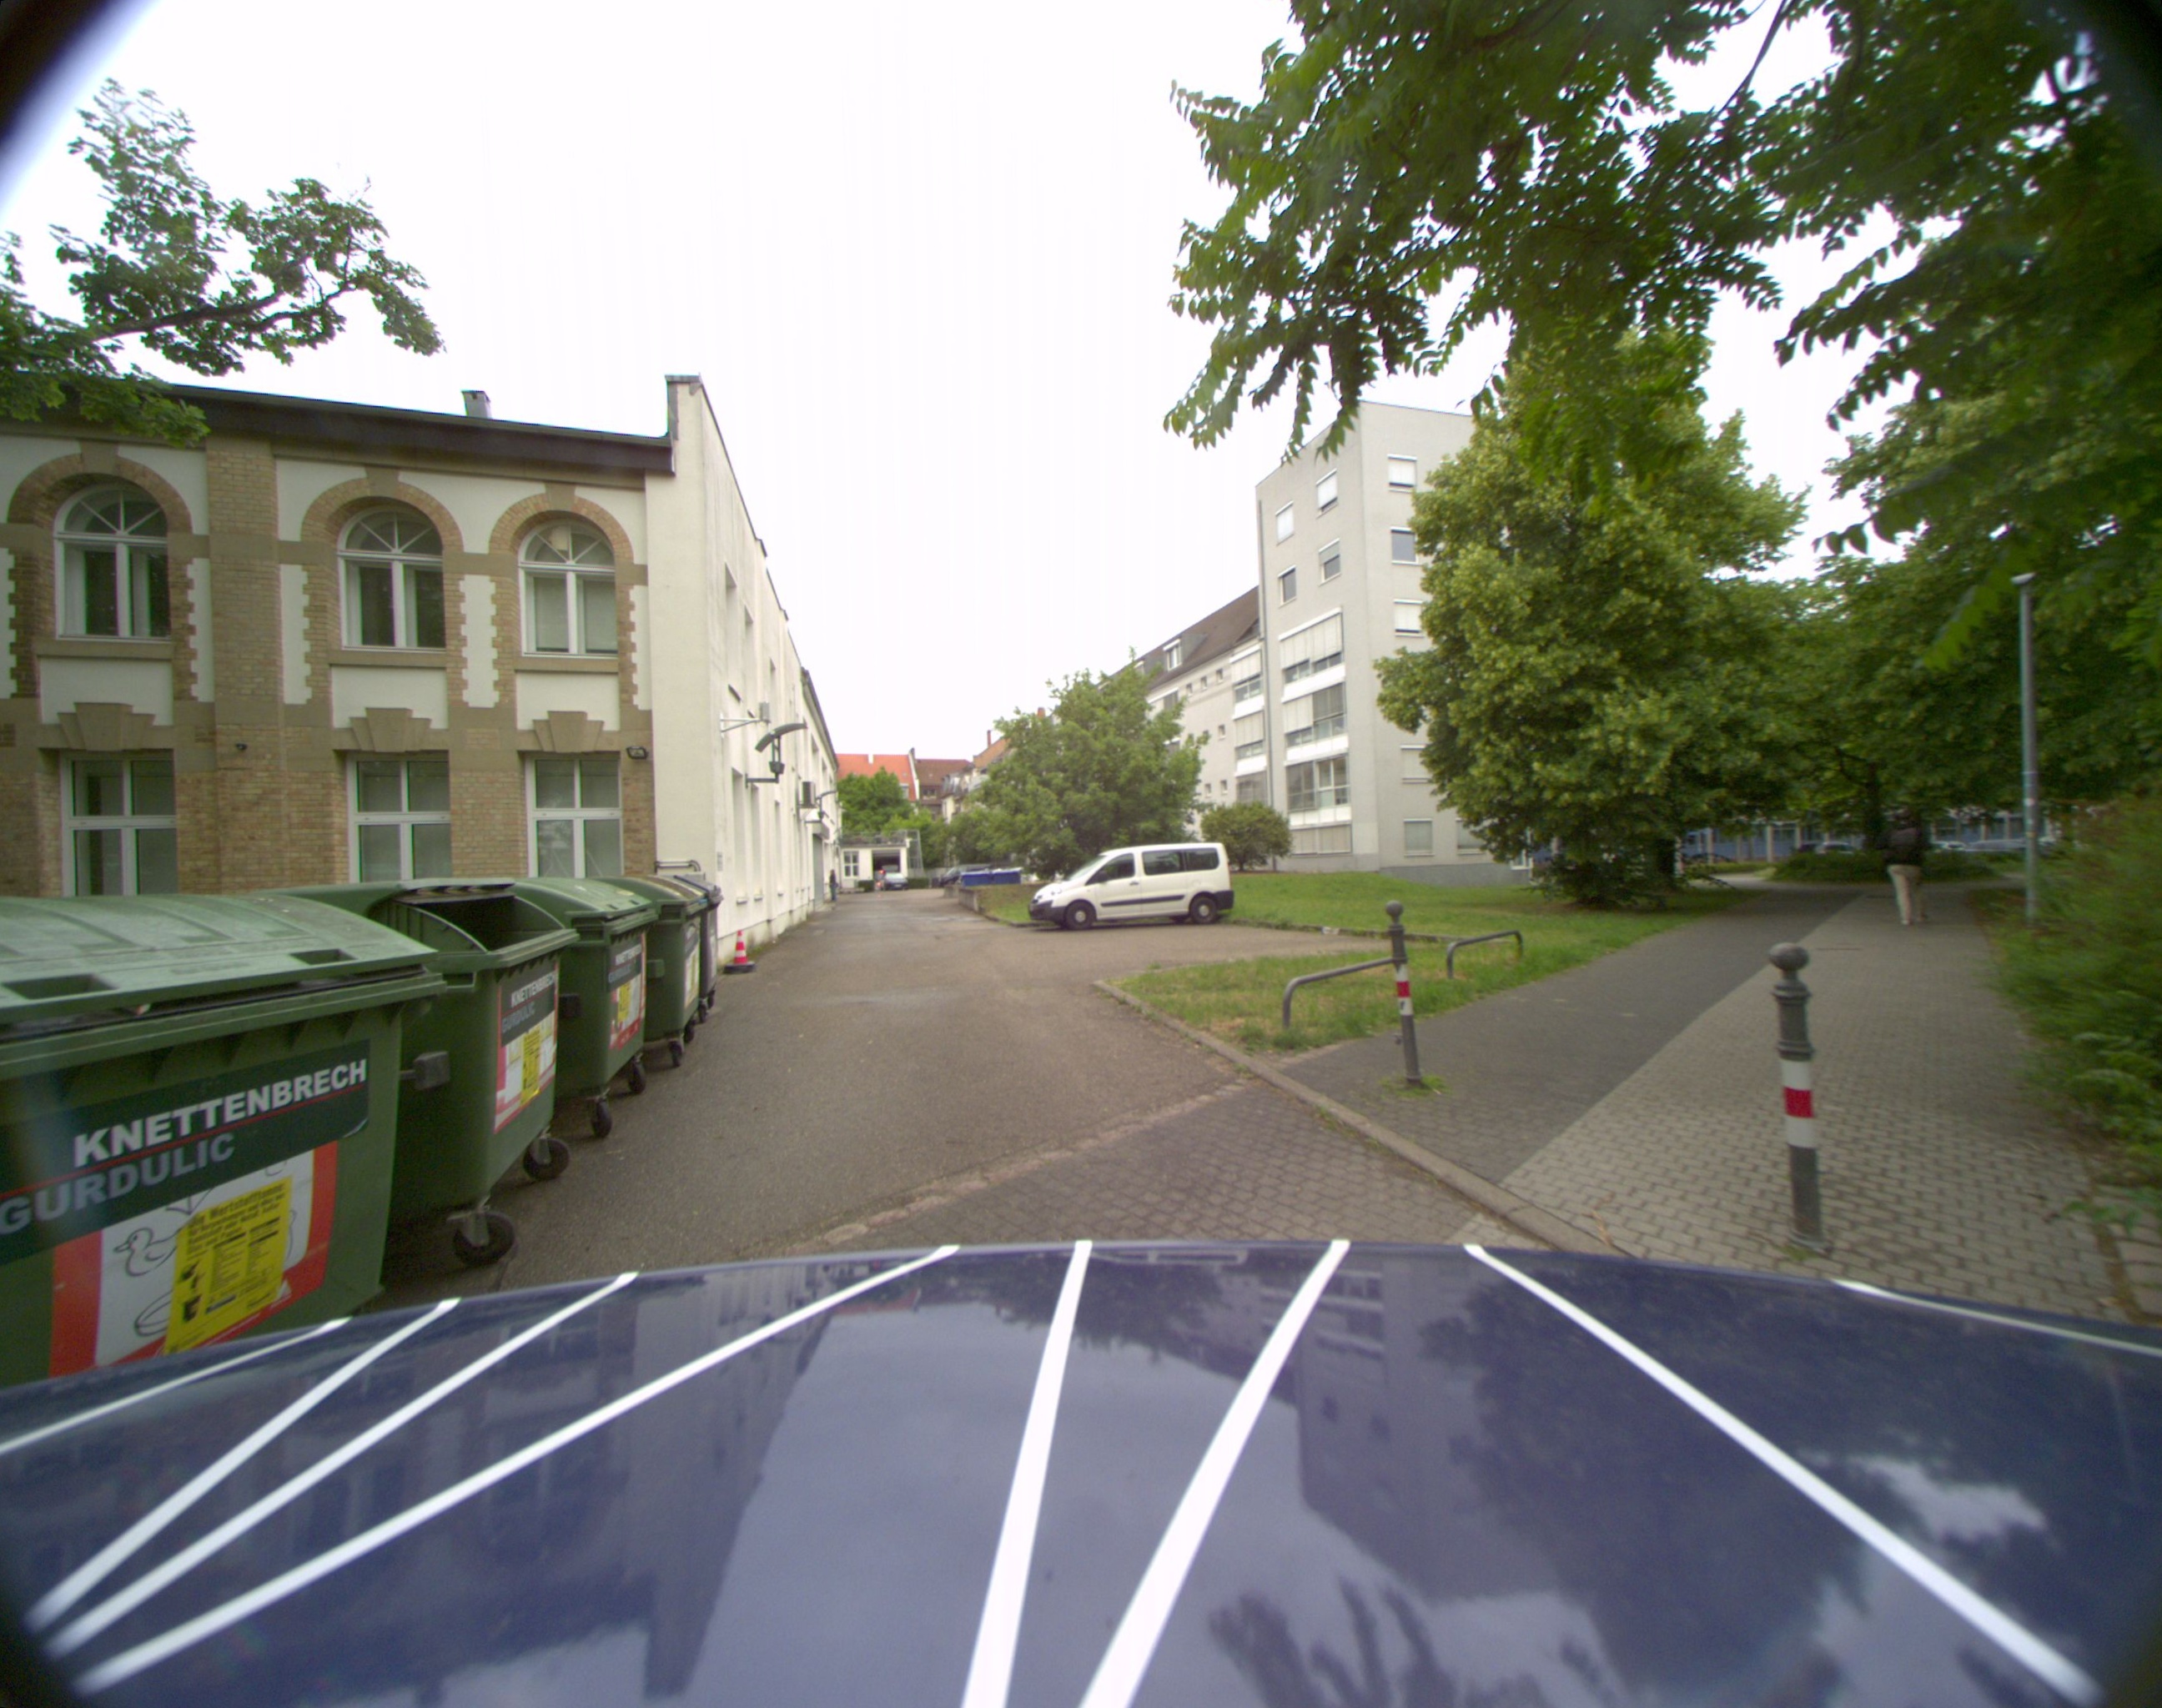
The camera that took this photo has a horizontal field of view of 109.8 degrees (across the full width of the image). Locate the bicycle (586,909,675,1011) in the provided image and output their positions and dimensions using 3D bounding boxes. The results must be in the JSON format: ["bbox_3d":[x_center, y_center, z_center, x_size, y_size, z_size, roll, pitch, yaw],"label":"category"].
[{"bbox_3d":[-5.901,1.342,10.044,0.461,1.108,1.743,-2,0,-13],"label":"bicycle"}]

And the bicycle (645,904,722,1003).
[{"bbox_3d":[-5.303,1.277,10.219,0.461,1.108,1.743,-2,0,-13],"label":"bicycle"}]

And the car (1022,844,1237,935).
[{"bbox_3d":[1.119,0.838,18.389,4.775,1.861,1.900,-2,-2,-13],"label":"car"}]

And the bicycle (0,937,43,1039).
[{"bbox_3d":[-12.365,1.536,8.111,0.461,1.108,1.743,-2,0,-13],"label":"bicycle"}]

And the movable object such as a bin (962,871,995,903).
[{"bbox_3d":[-4.459,1.408,32.929,1.181,1.299,1.226,-2,-1,-16],"label":"movable object such as a bin"}]

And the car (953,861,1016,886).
[{"bbox_3d":[-7.317,1.450,57.778,4.345,1.724,1.997,-2,0,-21],"label":"car"}]

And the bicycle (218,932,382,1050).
[{"bbox_3d":[-9.250,1.570,9.095,0.461,1.108,1.743,-2,0,-13],"label":"bicycle"}]

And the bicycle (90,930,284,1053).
[{"bbox_3d":[-10.164,1.509,8.733,0.461,1.108,1.743,-2,0,-13],"label":"bicycle"}]

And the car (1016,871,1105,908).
[{"bbox_3d":[-1.111,1.884,41.073,4.345,1.724,1.997,-2,0,-21],"label":"car"}]

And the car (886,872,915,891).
[{"bbox_3d":[-14.610,2.184,61.478,1.922,1.390,3.994,-2,0,-18],"label":"car"}]

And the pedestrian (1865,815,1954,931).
[{"bbox_3d":[12.865,0.288,11.812,0.621,1.739,0.681,-2,0,-11],"label":"pedestrian"}]

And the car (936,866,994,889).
[{"bbox_3d":[-9.600,1.921,62.923,4.345,1.724,1.997,-2,0,-21],"label":"car"}]

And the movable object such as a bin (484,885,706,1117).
[{"bbox_3d":[-3.579,0.999,5.784,1.110,1.441,1.324,-2,0,-20],"label":"movable object such as a bin"}]

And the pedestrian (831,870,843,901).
[{"bbox_3d":[-12.388,1.591,38.534,0.499,1.553,0.428,-2,0,-20],"label":"pedestrian"}]

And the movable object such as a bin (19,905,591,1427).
[{"bbox_3d":[-2.821,0.982,3.054,1.110,1.441,1.284,-2,0,-20],"label":"movable object such as a bin"}]

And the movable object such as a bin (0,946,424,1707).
[{"bbox_3d":[-2.440,0.998,1.554,1.071,1.426,1.274,-2,0,-6],"label":"movable object such as a bin"}]

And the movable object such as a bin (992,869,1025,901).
[{"bbox_3d":[-3.214,1.360,33.354,1.181,1.299,1.226,-2,-1,-16],"label":"movable object such as a bin"}]

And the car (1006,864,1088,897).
[{"bbox_3d":[-2.008,1.538,44.696,4.345,1.724,1.997,-2,0,-21],"label":"car"}]

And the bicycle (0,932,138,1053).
[{"bbox_3d":[-11.399,1.494,8.240,0.461,1.108,1.743,-2,0,-13],"label":"bicycle"}]

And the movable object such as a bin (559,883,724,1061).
[{"bbox_3d":[-4.131,1.036,7.297,1.110,1.441,1.360,-2,0,-21],"label":"movable object such as a bin"}]

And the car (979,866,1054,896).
[{"bbox_3d":[-4.180,1.709,49.174,4.345,1.724,1.997,-2,0,-21],"label":"car"}]

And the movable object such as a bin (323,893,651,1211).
[{"bbox_3d":[-3.313,0.994,4.456,1.110,1.441,1.292,-2,0,-20],"label":"movable object such as a bin"}]
